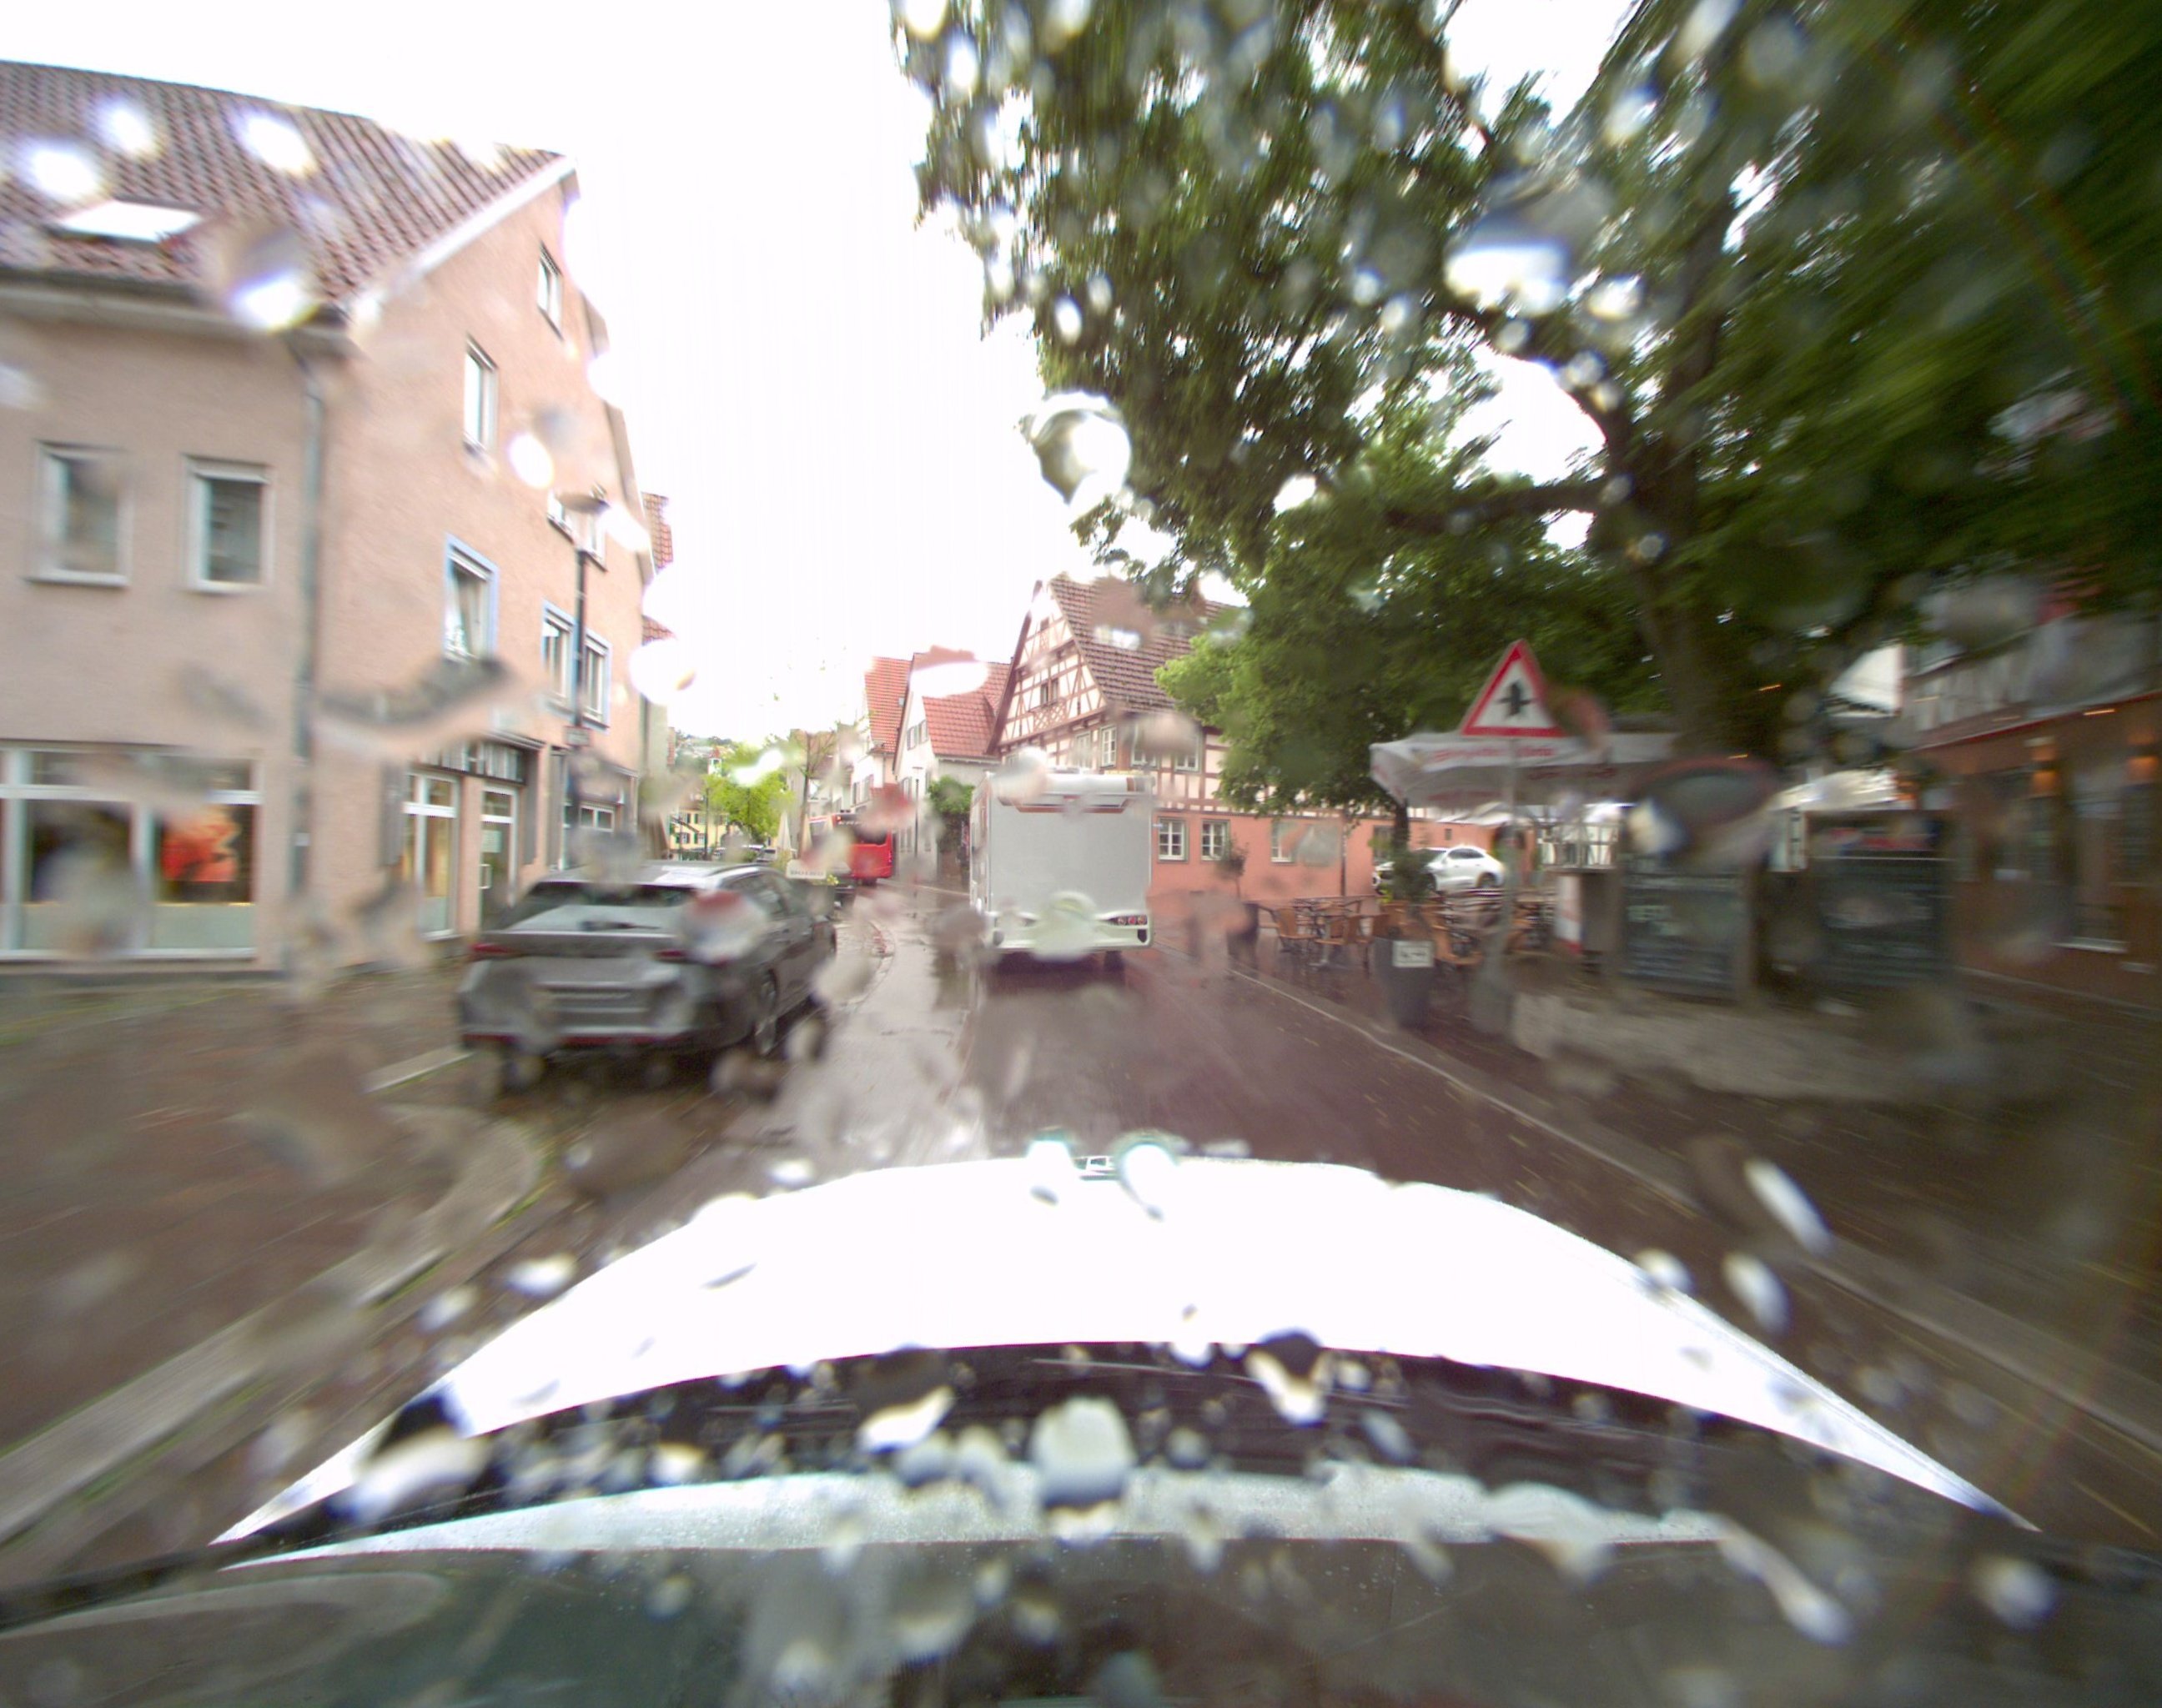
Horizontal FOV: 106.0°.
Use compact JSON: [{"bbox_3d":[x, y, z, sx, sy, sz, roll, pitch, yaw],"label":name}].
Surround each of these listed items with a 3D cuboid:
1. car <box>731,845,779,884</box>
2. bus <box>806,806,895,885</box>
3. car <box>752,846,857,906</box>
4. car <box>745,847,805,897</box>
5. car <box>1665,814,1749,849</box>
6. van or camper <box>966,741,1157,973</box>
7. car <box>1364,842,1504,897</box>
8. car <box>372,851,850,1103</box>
[{"bbox_3d":[-15.199,0.496,37.843,1.780,1.675,4.442,2,-2,-25],"label":"car"},{"bbox_3d":[-10.498,-0.285,36.632,2.655,3.227,6.544,0,-1,-27],"label":"bus"},{"bbox_3d":[-7.840,0.573,22.789,1.813,1.433,4.583,3,-1,-31],"label":"car"},{"bbox_3d":[-10.294,0.593,27.266,1.600,1.546,3.944,0,-1,-25],"label":"car"},{"bbox_3d":[30.053,-1.043,39.076,4.014,1.530,1.979,0,-1,-33],"label":"car"},{"bbox_3d":[-0.673,0.080,13.633,2.326,2.919,6.371,0,-1,-10],"label":"van or camper"},{"bbox_3d":[11.762,0.489,27.082,4.478,1.631,1.927,0,2,-29],"label":"car"},{"bbox_3d":[-3.374,0.743,7.022,1.992,1.454,4.363,0,-1,-7],"label":"car"}]
